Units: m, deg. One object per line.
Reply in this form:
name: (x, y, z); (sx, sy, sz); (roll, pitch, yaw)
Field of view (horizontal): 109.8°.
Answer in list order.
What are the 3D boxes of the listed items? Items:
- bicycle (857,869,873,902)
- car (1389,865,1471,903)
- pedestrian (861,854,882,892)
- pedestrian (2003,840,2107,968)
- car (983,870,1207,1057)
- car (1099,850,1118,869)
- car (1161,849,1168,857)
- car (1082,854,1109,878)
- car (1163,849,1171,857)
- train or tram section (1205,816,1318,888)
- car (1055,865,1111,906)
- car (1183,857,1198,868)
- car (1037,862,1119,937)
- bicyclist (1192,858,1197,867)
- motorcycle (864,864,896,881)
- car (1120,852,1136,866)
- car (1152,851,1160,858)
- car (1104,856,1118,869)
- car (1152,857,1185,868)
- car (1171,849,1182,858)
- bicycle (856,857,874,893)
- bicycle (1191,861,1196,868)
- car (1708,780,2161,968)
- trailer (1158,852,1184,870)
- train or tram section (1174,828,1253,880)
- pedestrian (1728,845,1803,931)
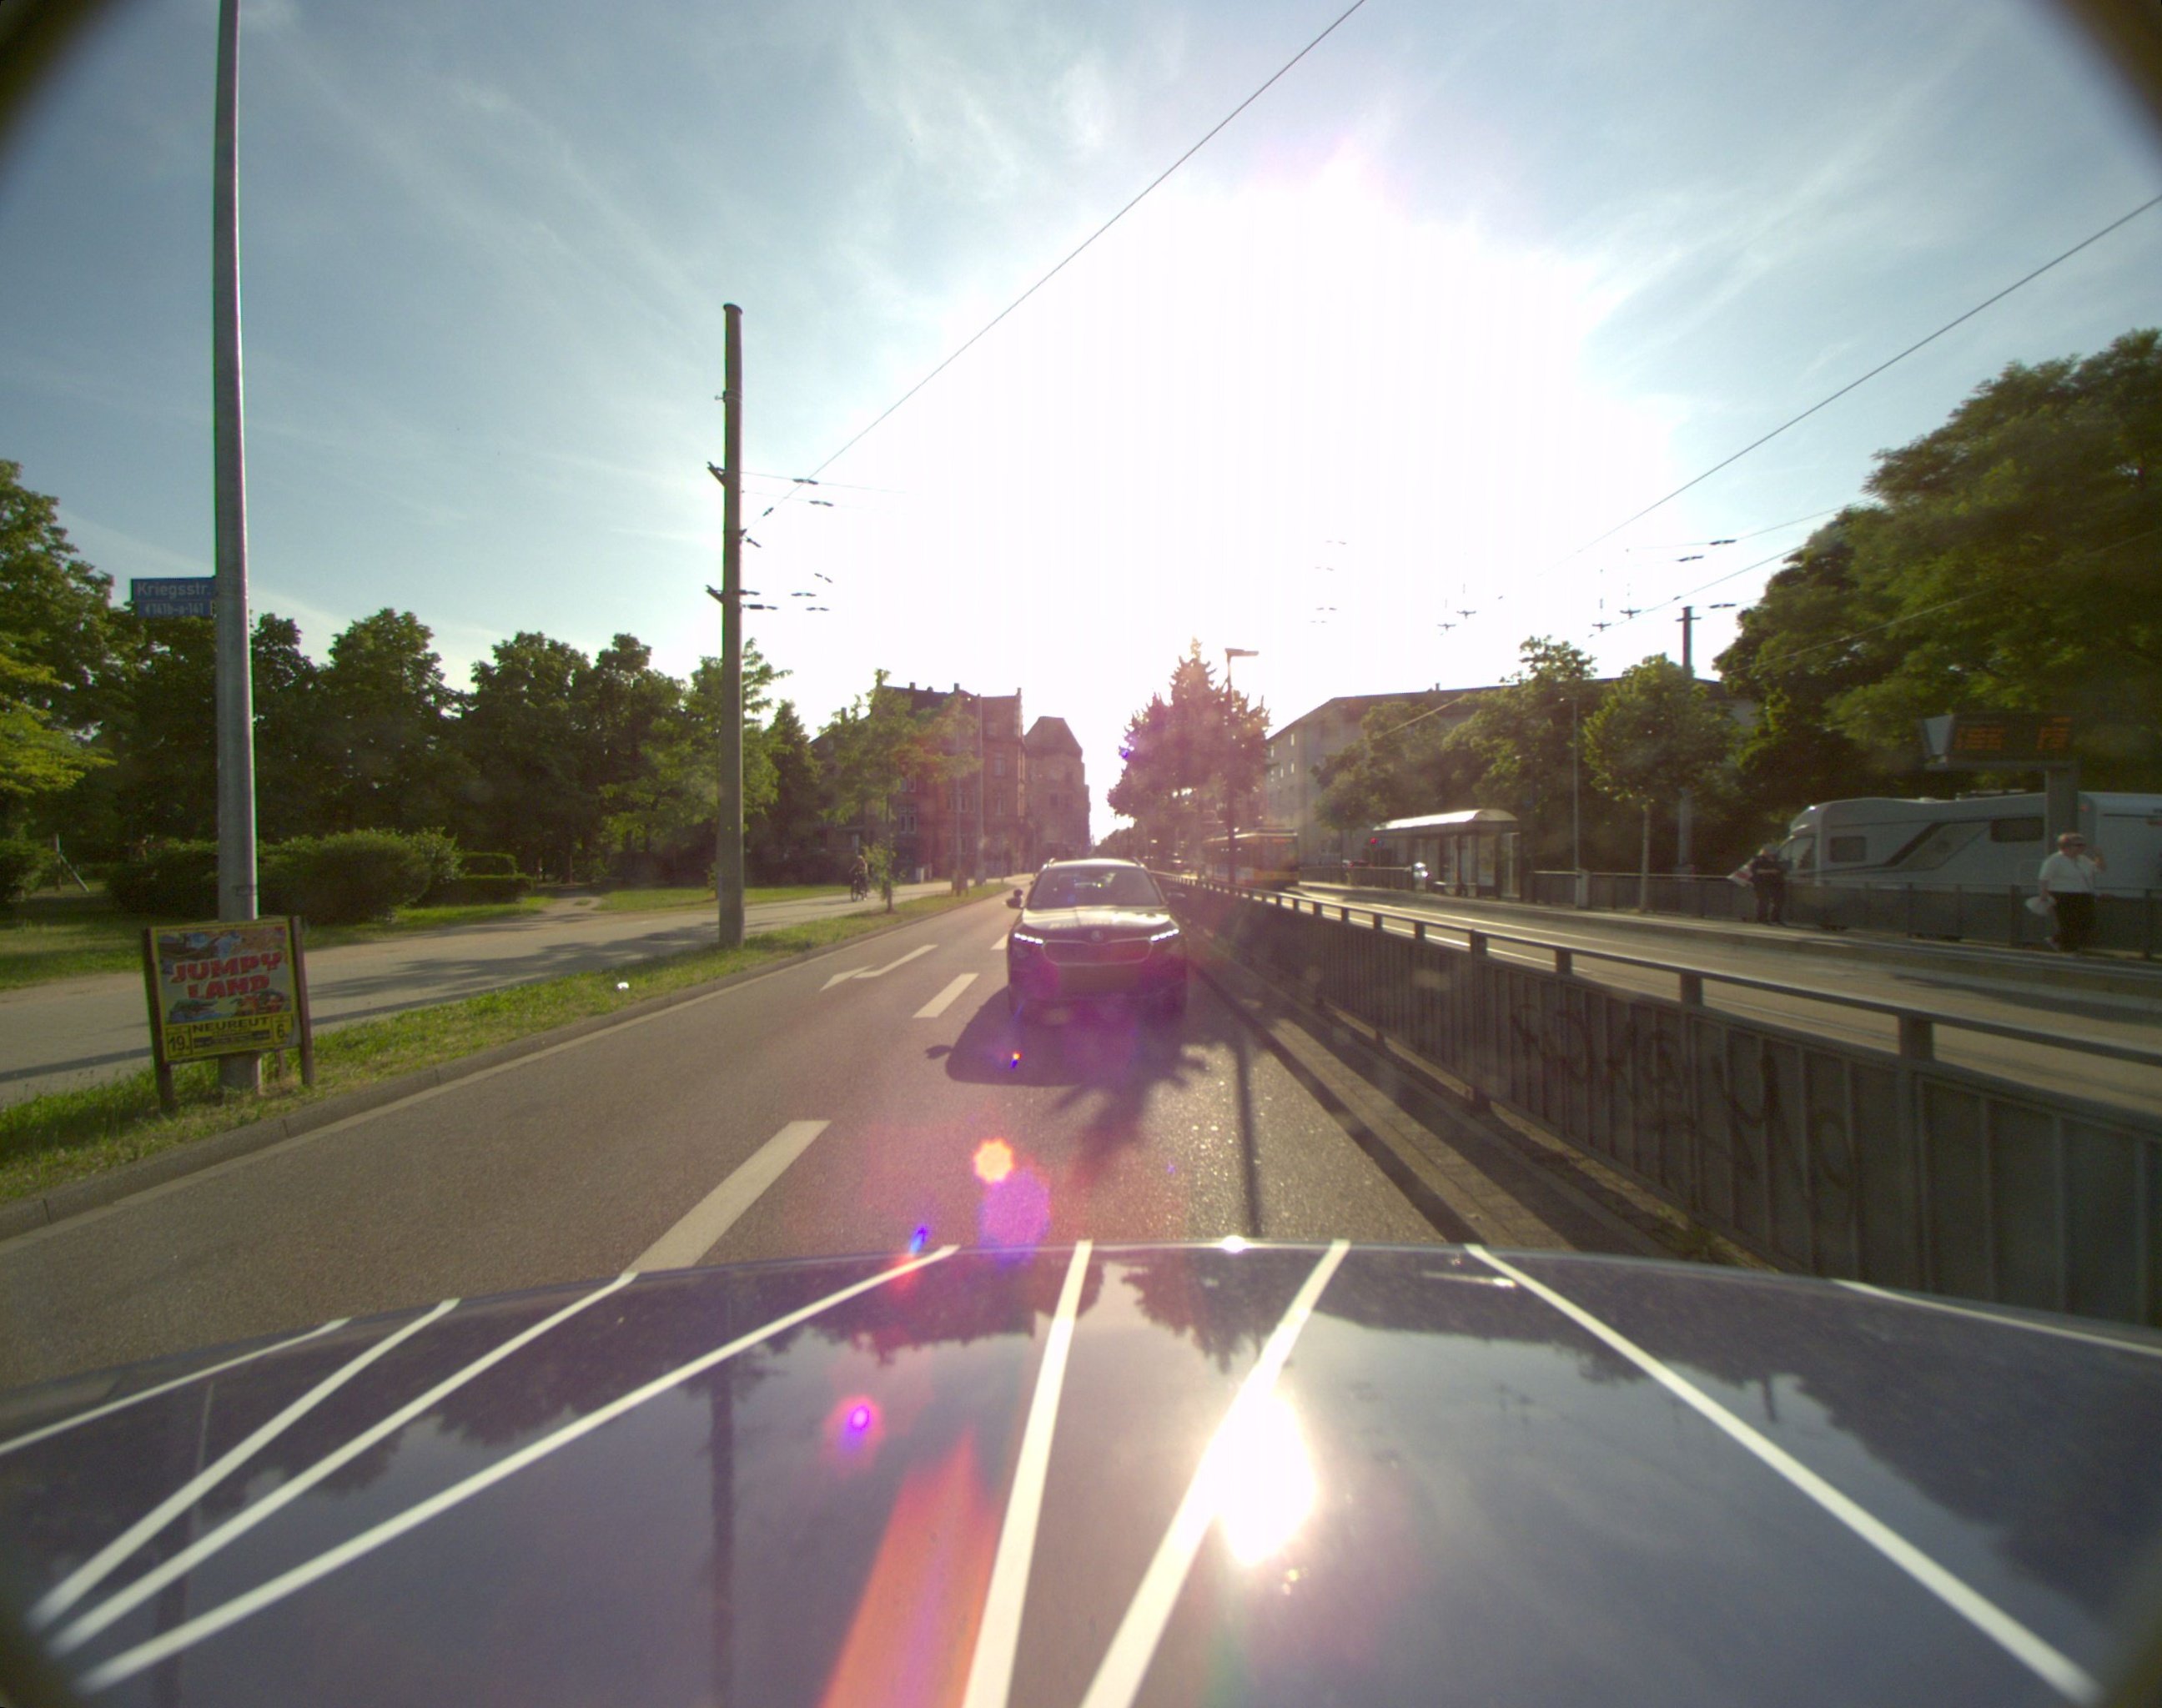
bicycle: (-7.976, 1.139, 28.041); (0.485, 1.183, 1.337); (-1, 0, -20)
car: (16.543, 1.372, 36.238); (1.999, 1.674, 4.000); (-1, 0, 0)
pedestrian: (-9.491, 0.844, 34.408); (0.616, 1.682, 0.549); (5, 1, 5)
pedestrian: (12.920, 0.650, 10.092); (0.583, 1.631, 0.607); (1, 0, -4)
car: (0.210, 0.938, 8.243); (1.839, 1.472, 4.001); (0, 0, 3)
car: (3.009, 0.575, 84.470); (1.998, 2.002, 4.000); (0, 0, 1)
car: (23.457, -0.287, 213.824); (1.998, 2.002, 4.001); (-1, 0, 4)
car: (1.068, 0.879, 58.025); (1.998, 1.772, 4.000); (0, 0, 0)
car: (22.913, -0.286, 202.484); (1.998, 2.002, 4.001); (-1, 0, 4)
train or tram section: (9.906, -0.047, 44.011); (3.169, 3.459, 14.472); (-1, 0, 0)
car: (0.175, 1.288, 32.487); (1.998, 1.564, 4.002); (-1, 0, 6)
car: (19.945, 1.505, 138.448); (2.170, 1.890, 4.612); (-1, 0, 3)
car: (-0.064, 1.143, 20.898); (1.998, 1.827, 4.000); (-1, 0, 0)
bicyclist: (17.051, 1.318, 114.541); (0.652, 1.405, 0.717); (-1, 0, 5)
motorcycle: (-13.822, 1.257, 52.184); (2.002, 1.153, 0.708); (-1, 0, -5)
car: (6.703, 0.699, 109.118); (1.999, 2.002, 3.999); (0, 0, -2)
car: (22.368, 0.217, 226.576); (1.998, 2.002, 4.000); (-1, 0, 0)
car: (4.521, 1.251, 113.851); (1.998, 2.002, 4.000); (0, 0, 1)
car: (11.116, 1.112, 96.624); (3.941, 1.352, 1.676); (0, 0, 38)
car: (21.691, -0.130, 171.965); (1.998, 2.002, 4.000); (-1, 0, 1)
bicycle: (-7.999, 0.768, 28.085); (0.575, 1.290, 0.687); (-1, 0, -20)
bicycle: (17.030, 1.619, 114.592); (0.543, 1.012, 2.251); (-1, 0, 4)
car: (16.541, 0.297, 14.744); (2.603, 2.719, 7.469); (-1, 0, 1)
trailer: (11.754, 0.907, 99.681); (2.858, 2.378, 1.726); (-1, 0, 32)
train or tram section: (9.811, 0.061, 58.482); (3.170, 3.459, 14.531); (-1, 0, -2)
pedestrian: (13.473, 0.659, 14.977); (0.666, 1.632, 0.863); (-1, 0, -16)
